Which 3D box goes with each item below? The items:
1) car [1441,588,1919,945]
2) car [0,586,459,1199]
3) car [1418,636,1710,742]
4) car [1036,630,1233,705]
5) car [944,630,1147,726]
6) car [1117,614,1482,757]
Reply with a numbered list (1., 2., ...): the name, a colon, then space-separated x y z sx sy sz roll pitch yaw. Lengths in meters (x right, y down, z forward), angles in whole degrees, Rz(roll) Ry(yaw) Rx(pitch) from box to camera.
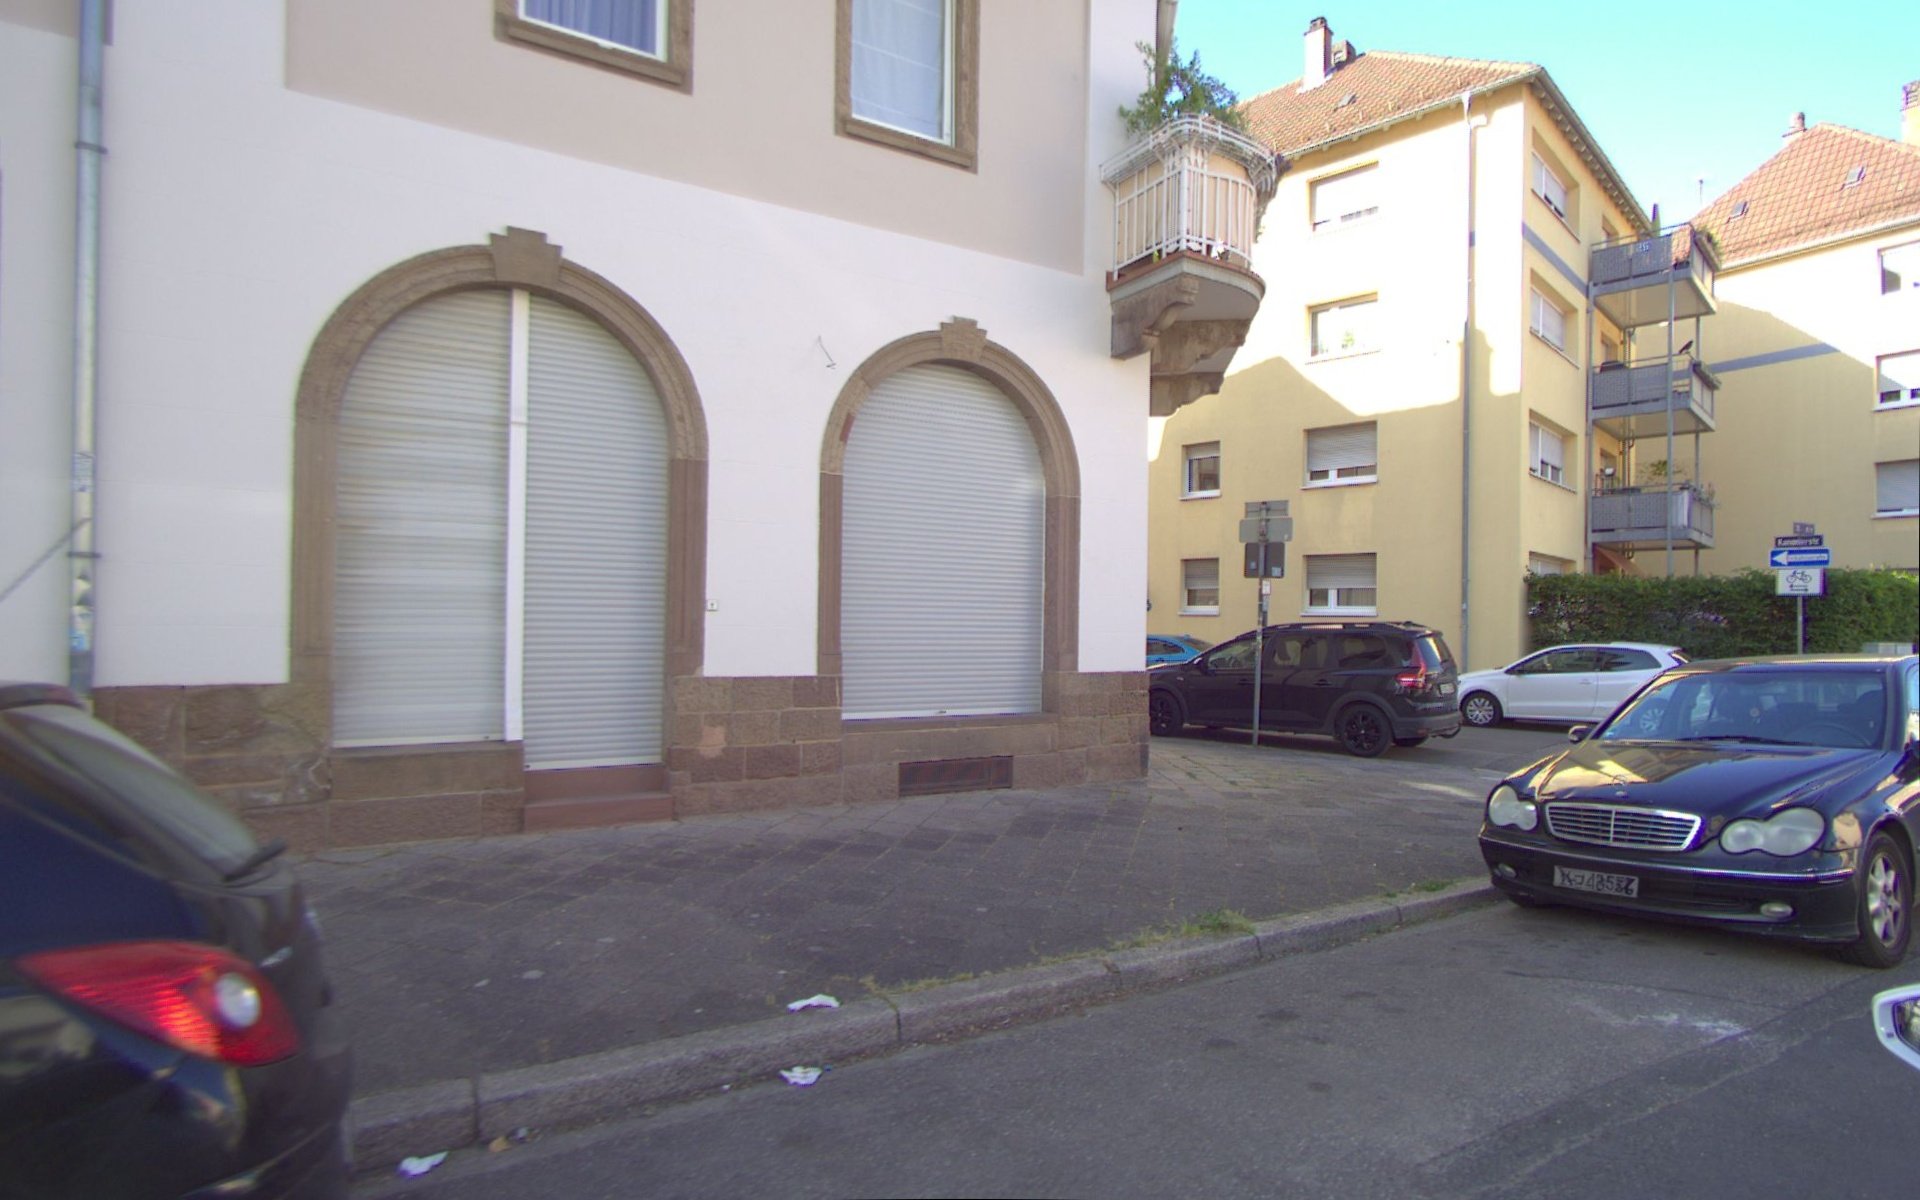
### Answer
1. car: 4.932 0.838 5.975 4.328 1.433 1.695 3 -7 -33
2. car: -2.908 0.704 1.113 4.037 1.433 1.637 3 -7 -33
3. car: 9.926 1.379 16.679 3.936 1.498 1.586 -1 -2 43
4. car: 3.811 1.435 22.362 4.062 1.465 1.680 -1 -2 43
5. car: 1.387 1.237 16.868 1.584 1.418 3.130 3 -2 -44
6. car: 4.494 1.036 13.739 4.415 1.637 1.769 -1 -2 42
